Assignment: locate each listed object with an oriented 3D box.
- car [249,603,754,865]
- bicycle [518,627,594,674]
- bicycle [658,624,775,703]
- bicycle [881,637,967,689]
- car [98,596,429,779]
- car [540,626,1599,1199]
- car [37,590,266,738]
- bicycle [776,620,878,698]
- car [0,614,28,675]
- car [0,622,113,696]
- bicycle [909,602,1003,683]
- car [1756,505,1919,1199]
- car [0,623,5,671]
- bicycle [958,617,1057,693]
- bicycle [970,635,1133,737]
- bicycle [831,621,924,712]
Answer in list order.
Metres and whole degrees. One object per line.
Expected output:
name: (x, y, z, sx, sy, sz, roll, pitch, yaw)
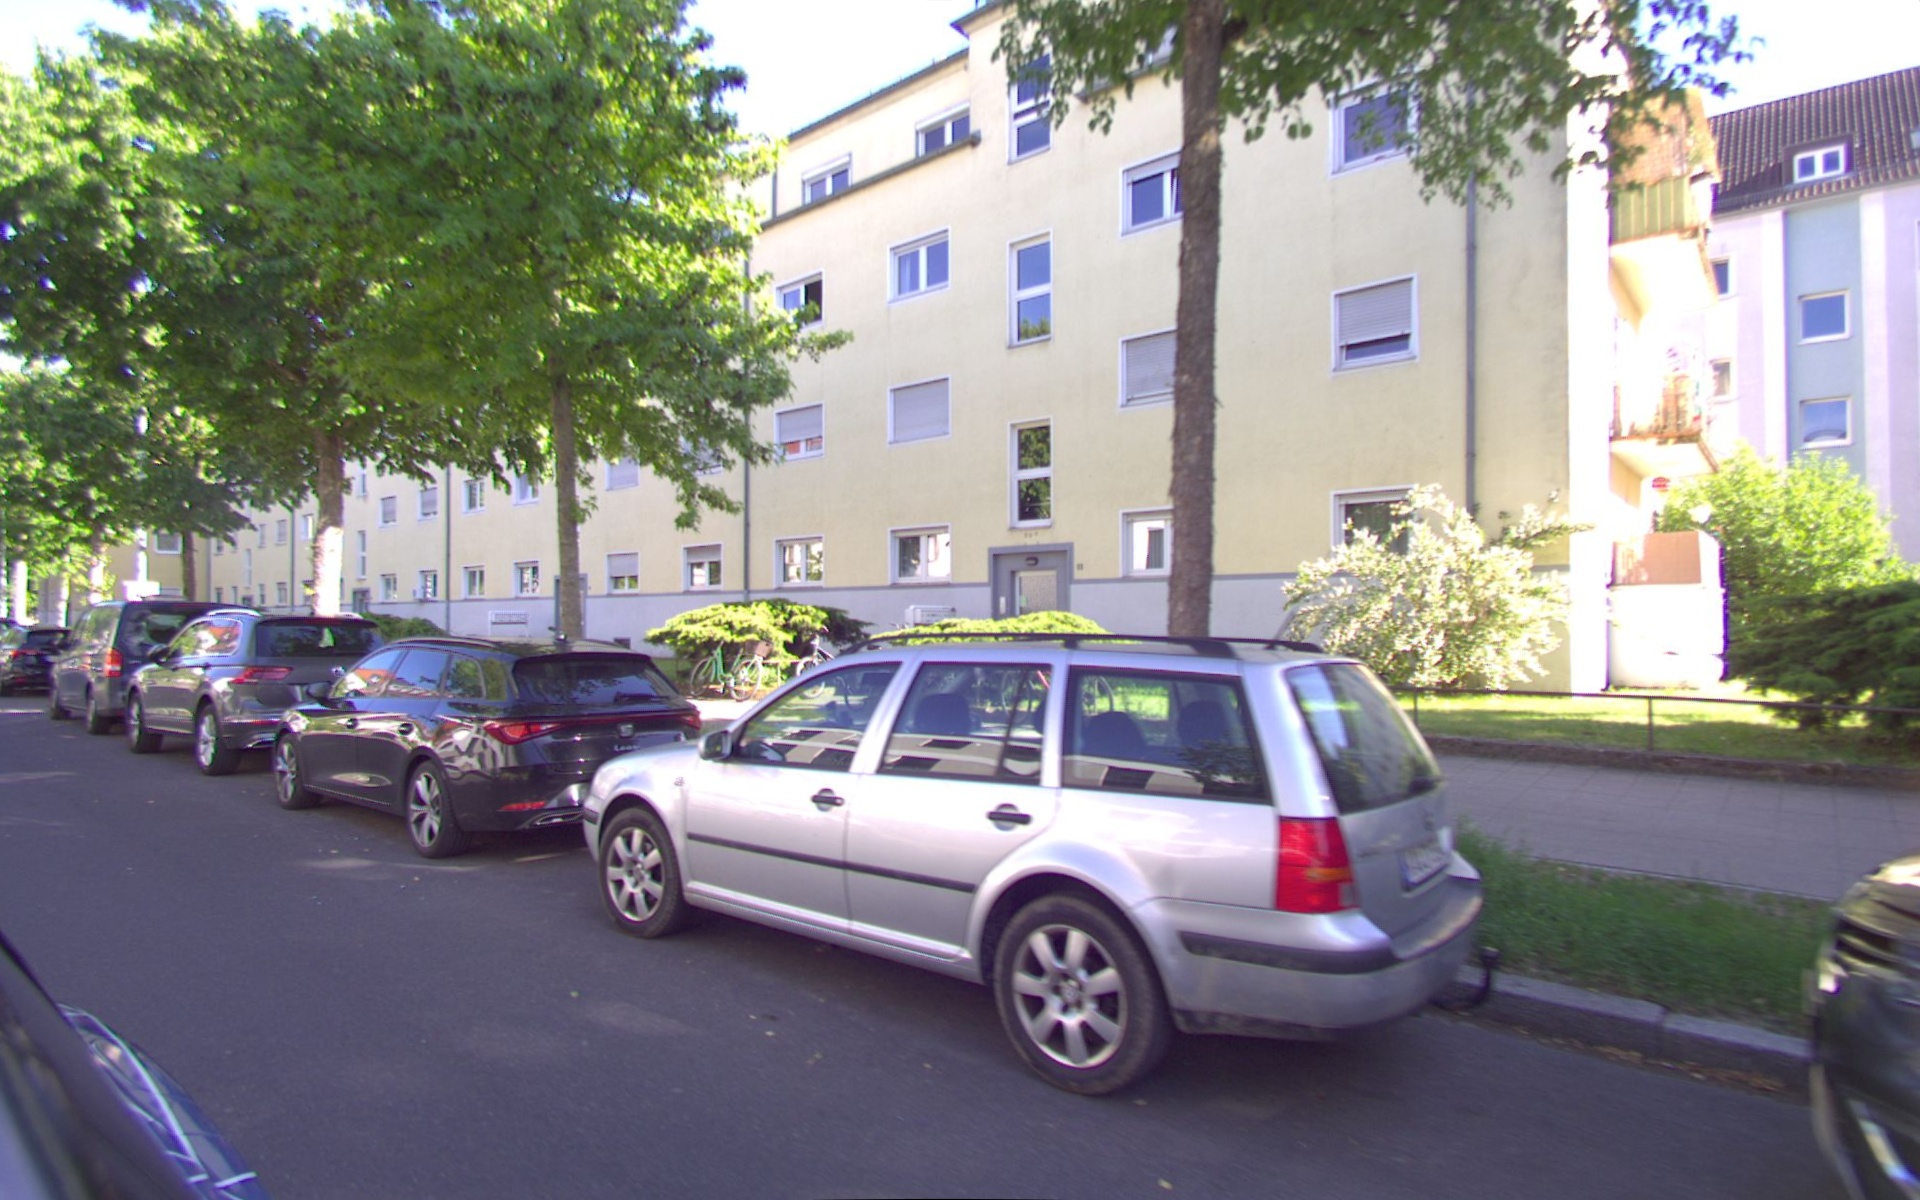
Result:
car: (-3.711, 0.805, 7.787, 4.486, 1.463, 1.775, -1, -2, 40)
bicycle: (-8.236, 1.014, 20.598, 1.902, 0.923, 0.589, -1, -2, 39)
bicycle: (-3.937, 0.990, 16.261, 2.259, 1.199, 0.589, -1, -2, 40)
bicycle: (-0.650, 1.136, 18.657, 0.585, 0.876, 1.691, -1, -1, 41)
car: (-8.027, 0.868, 11.510, 4.520, 1.699, 1.777, -1, -2, 38)
car: (0.083, 0.866, 4.496, 4.485, 1.492, 1.689, -1, -2, 39)
car: (-12.156, 0.874, 15.086, 4.863, 1.864, 1.775, -1, -2, 41)
bicycle: (-2.219, 0.960, 17.050, 0.517, 1.235, 1.802, -1, -1, 41)
car: (-28.958, 1.284, 29.765, 3.999, 1.741, 1.839, -1, -3, 42)
car: (-20.054, 1.252, 22.060, 4.061, 1.482, 1.757, -1, -4, 41)
bicycle: (-0.051, 0.646, 16.162, 0.590, 1.235, 1.618, -1, -1, 41)
car: (4.066, 0.648, 1.003, 5.084, 1.669, 1.823, -1, -2, 40)
car: (-32.937, 1.546, 33.483, 3.414, 1.556, 1.585, -1, -2, 41)
bicycle: (0.862, 0.921, 17.759, 0.776, 1.235, 1.933, -1, -1, 38)
bicycle: (1.038, 0.966, 11.840, 1.932, 1.069, 0.566, -1, -1, 41)
bicycle: (-1.189, 0.937, 14.860, 0.515, 1.235, 1.623, -1, -1, 31)
